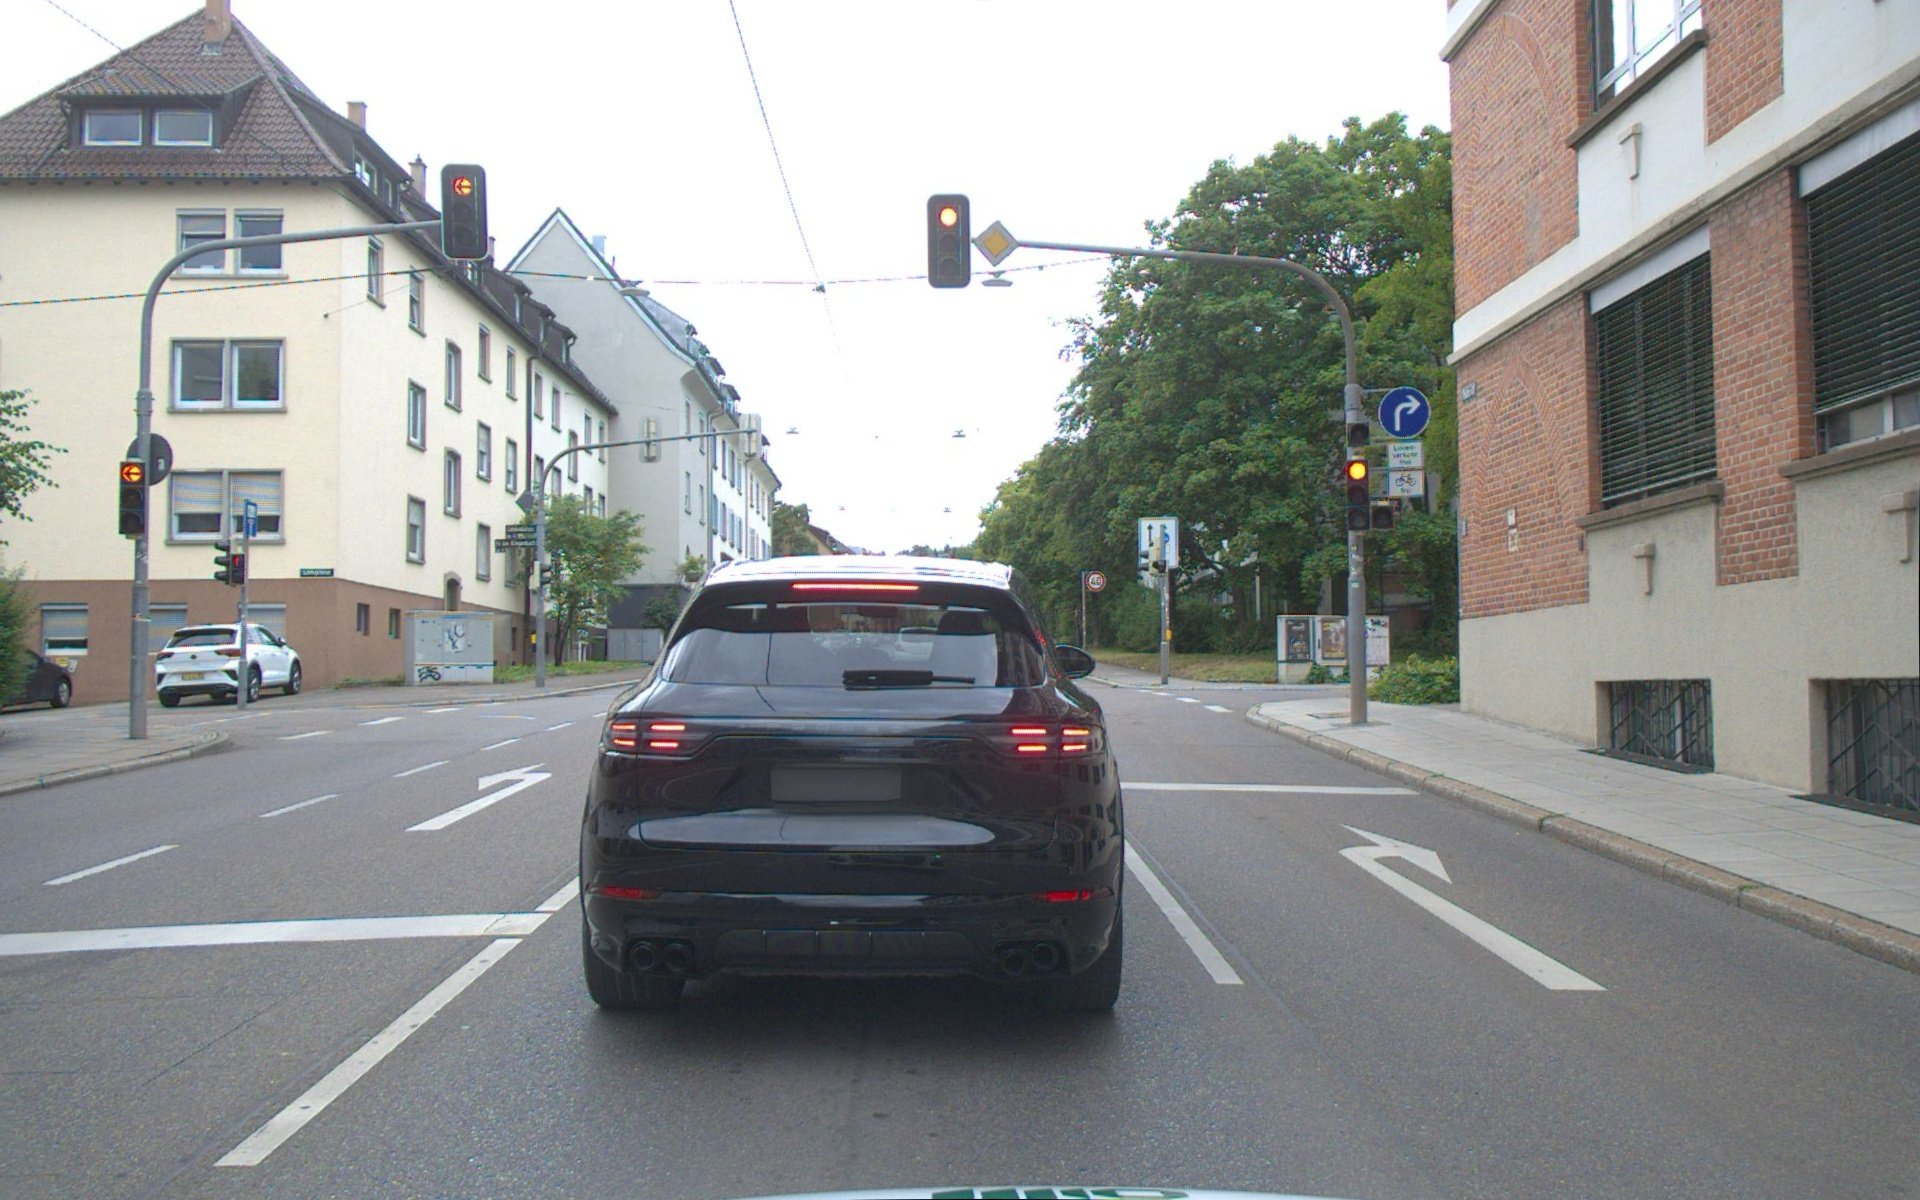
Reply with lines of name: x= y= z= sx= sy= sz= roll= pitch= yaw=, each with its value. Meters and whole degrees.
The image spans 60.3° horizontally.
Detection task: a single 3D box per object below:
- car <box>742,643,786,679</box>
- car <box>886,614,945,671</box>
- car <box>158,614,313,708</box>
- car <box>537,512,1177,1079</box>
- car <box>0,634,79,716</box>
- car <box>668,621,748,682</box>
car: x=-8.205 y=2.553 z=69.467 sx=1.637 sy=1.386 sz=3.997 roll=0 pitch=0 yaw=-4
car: x=-1.334 y=1.223 z=49.279 sx=1.654 sy=1.579 sz=3.887 roll=1 pitch=0 yaw=-2
car: x=-14.646 y=1.191 z=33.674 sx=1.638 sy=1.691 sz=3.995 roll=-3 pitch=0 yaw=-5
car: x=-0.342 y=0.616 z=7.123 sx=1.953 sy=1.726 sz=3.999 roll=1 pitch=0 yaw=-1
car: x=-19.734 y=1.548 z=33.412 sx=1.636 sy=1.573 sz=4.100 roll=-3 pitch=0 yaw=-1
car: x=-7.127 y=1.426 z=47.025 sx=1.630 sy=1.545 sz=3.739 roll=-4 pitch=0 yaw=0
